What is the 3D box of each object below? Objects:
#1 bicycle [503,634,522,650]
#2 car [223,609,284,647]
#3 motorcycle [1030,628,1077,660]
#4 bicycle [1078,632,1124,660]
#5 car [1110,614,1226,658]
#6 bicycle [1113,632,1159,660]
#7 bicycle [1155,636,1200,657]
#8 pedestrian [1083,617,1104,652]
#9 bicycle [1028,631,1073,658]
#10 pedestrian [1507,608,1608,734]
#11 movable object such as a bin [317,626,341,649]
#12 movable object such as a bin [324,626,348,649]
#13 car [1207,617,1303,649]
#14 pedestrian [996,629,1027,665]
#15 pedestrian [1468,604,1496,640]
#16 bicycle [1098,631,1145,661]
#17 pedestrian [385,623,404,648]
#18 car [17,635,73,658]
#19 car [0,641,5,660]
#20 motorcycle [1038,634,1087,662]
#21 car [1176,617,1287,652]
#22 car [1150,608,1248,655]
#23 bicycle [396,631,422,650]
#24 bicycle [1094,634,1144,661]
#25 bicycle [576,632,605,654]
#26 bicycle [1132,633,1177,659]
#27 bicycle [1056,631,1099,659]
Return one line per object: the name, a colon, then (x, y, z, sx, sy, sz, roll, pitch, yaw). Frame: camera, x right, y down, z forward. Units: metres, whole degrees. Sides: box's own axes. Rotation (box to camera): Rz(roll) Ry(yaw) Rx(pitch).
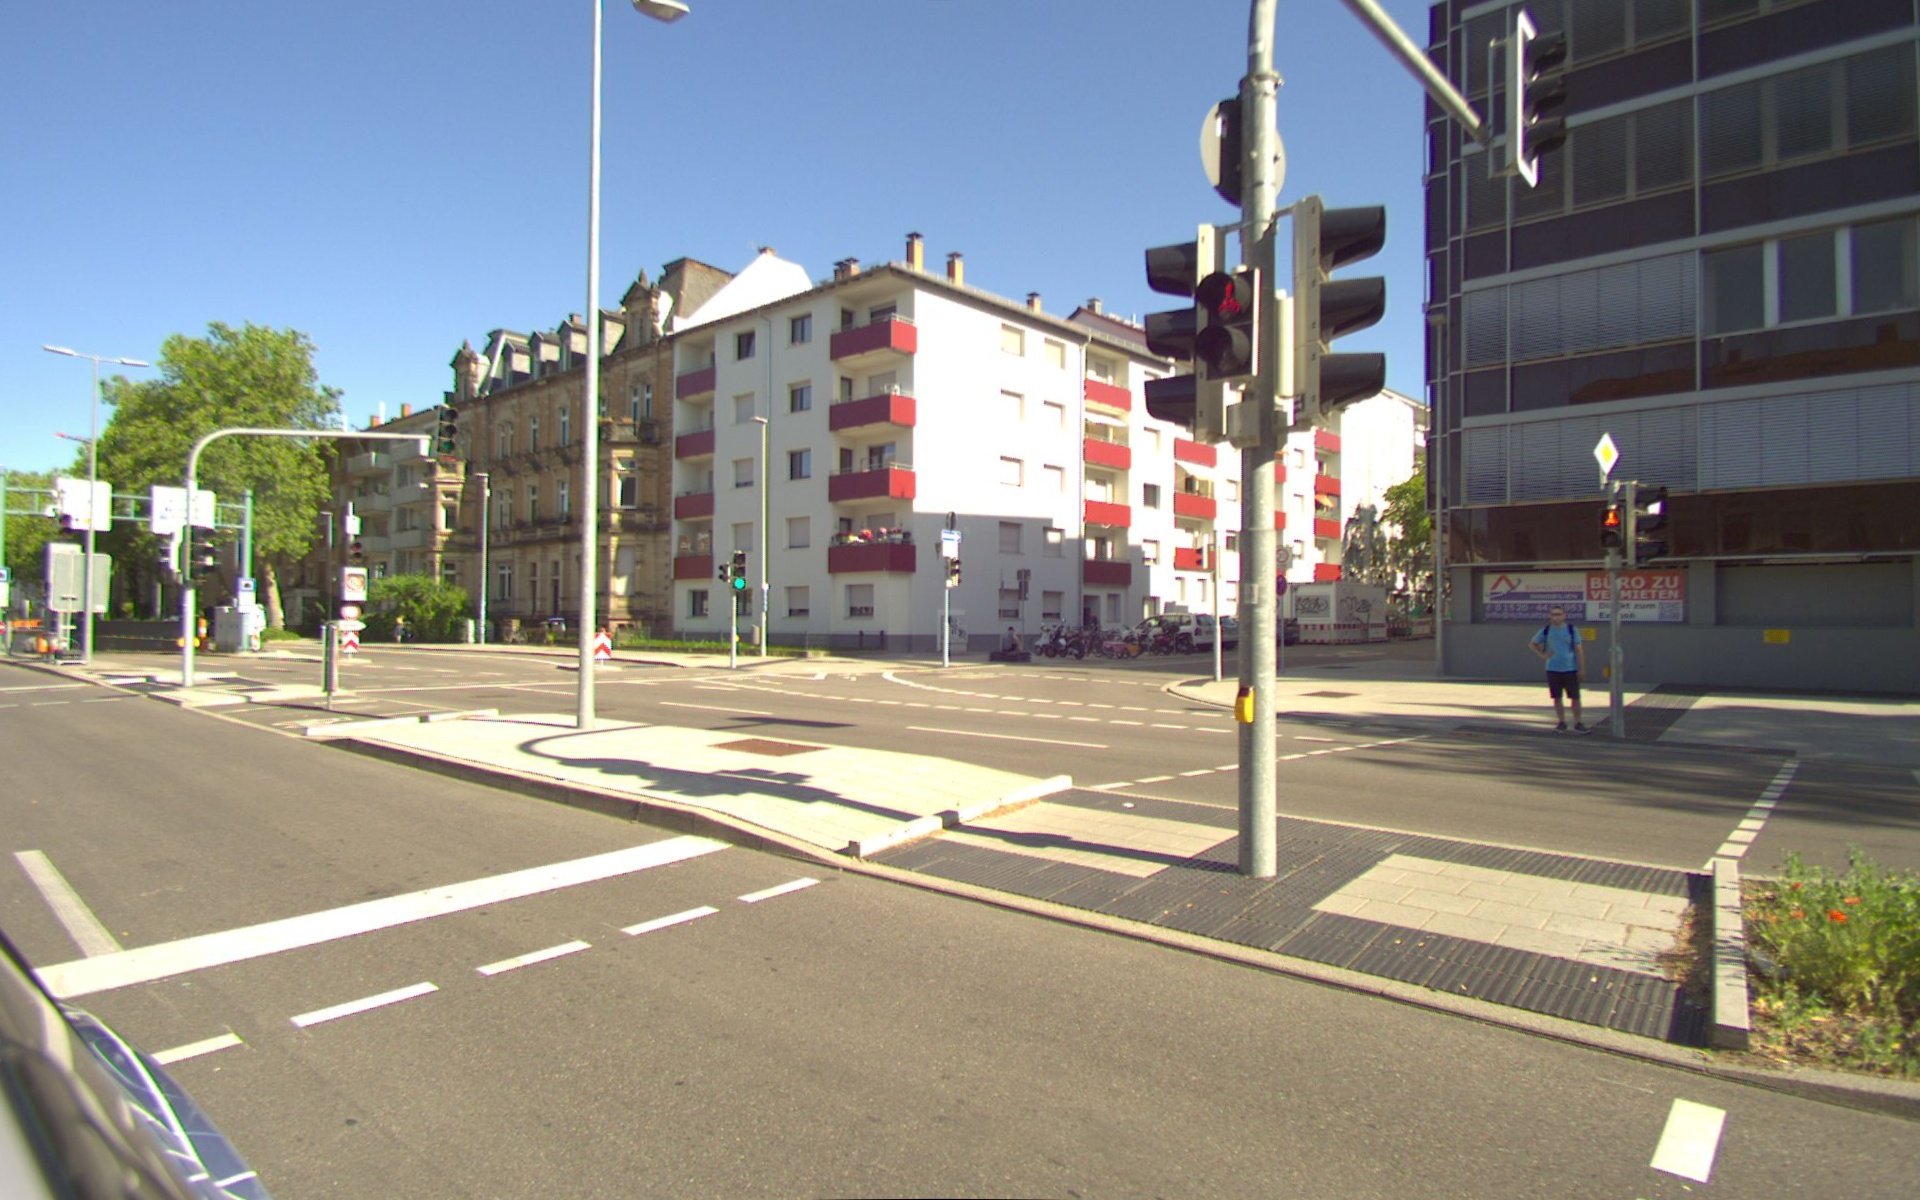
bicycle: (-21.896, 2.045, 49.538, 1.413, 0.777, 0.296, -2, -2, 41)
car: (-49.690, 1.998, 71.139, 5.284, 2.465, 2.221, -3, -5, 42)
motorcycle: (3.406, 1.585, 37.020, 0.604, 1.150, 1.786, 1, -2, -40)
bicycle: (5.040, 1.635, 36.327, 0.500, 0.985, 1.890, 1, -2, -33)
car: (8.661, 1.481, 42.392, 1.970, 1.744, 4.483, 1, -2, -43)
bicycle: (6.641, 1.723, 38.282, 0.502, 1.011, 1.737, 1, -2, -44)
bicycle: (8.421, 1.793, 39.195, 1.709, 0.820, 0.412, 0, -1, 18)
pedestrian: (5.889, 1.514, 44.513, 0.695, 1.508, 0.593, -1, -2, 44)
bicycle: (3.459, 1.696, 38.821, 0.567, 0.976, 1.737, 1, -2, -44)
pedestrian: (8.553, 0.985, 14.497, 0.854, 1.724, 1.013, 1, -2, -42)
movable object such as a bin: (-40.010, 2.389, 64.209, 1.313, 1.373, 0.884, -3, -5, 40)
movable object such as a bin: (-38.997, 2.343, 63.252, 1.473, 1.371, 0.883, -3, -5, 42)
car: (14.009, 1.553, 48.139, 4.000, 1.473, 1.823, -2, -2, 43)
pedestrian: (1.684, 1.535, 33.263, 0.785, 1.162, 0.712, -1, -2, 28)
pedestrian: (29.913, 1.263, 57.967, 1.149, 2.029, 1.436, -1, -2, 40)
bicycle: (5.958, 1.699, 37.470, 1.736, 1.077, 0.483, -2, -2, 43)
pedestrian: (-31.937, 2.002, 57.151, 1.089, 1.388, 0.561, -2, -2, 39)
car: (-57.545, 2.928, 63.603, 4.310, 1.356, 1.912, -3, -3, 38)
car: (-79.875, 4.180, 82.722, 4.385, 1.464, 1.974, -3, -1, 39)
motorcycle: (3.588, 1.663, 35.433, 0.497, 0.943, 1.844, 1, -2, -42)
car: (12.274, 1.546, 45.969, 4.575, 1.541, 1.739, -2, -2, 43)
car: (10.340, 1.353, 43.920, 3.794, 1.970, 1.677, -1, -2, 44)
bicycle: (-31.231, 2.308, 57.355, 2.247, 1.013, 0.462, -2, -1, 39)
bicycle: (5.707, 1.696, 36.484, 0.471, 0.955, 1.954, 1, -2, -40)
bicycle: (-16.313, 1.896, 44.685, 1.939, 0.965, 0.301, -1, -2, 41)
bicycle: (7.422, 1.747, 38.694, 1.723, 0.955, 0.453, -1, -2, 43)
bicycle: (4.665, 1.773, 40.228, 0.567, 1.066, 1.691, 1, -2, -44)
